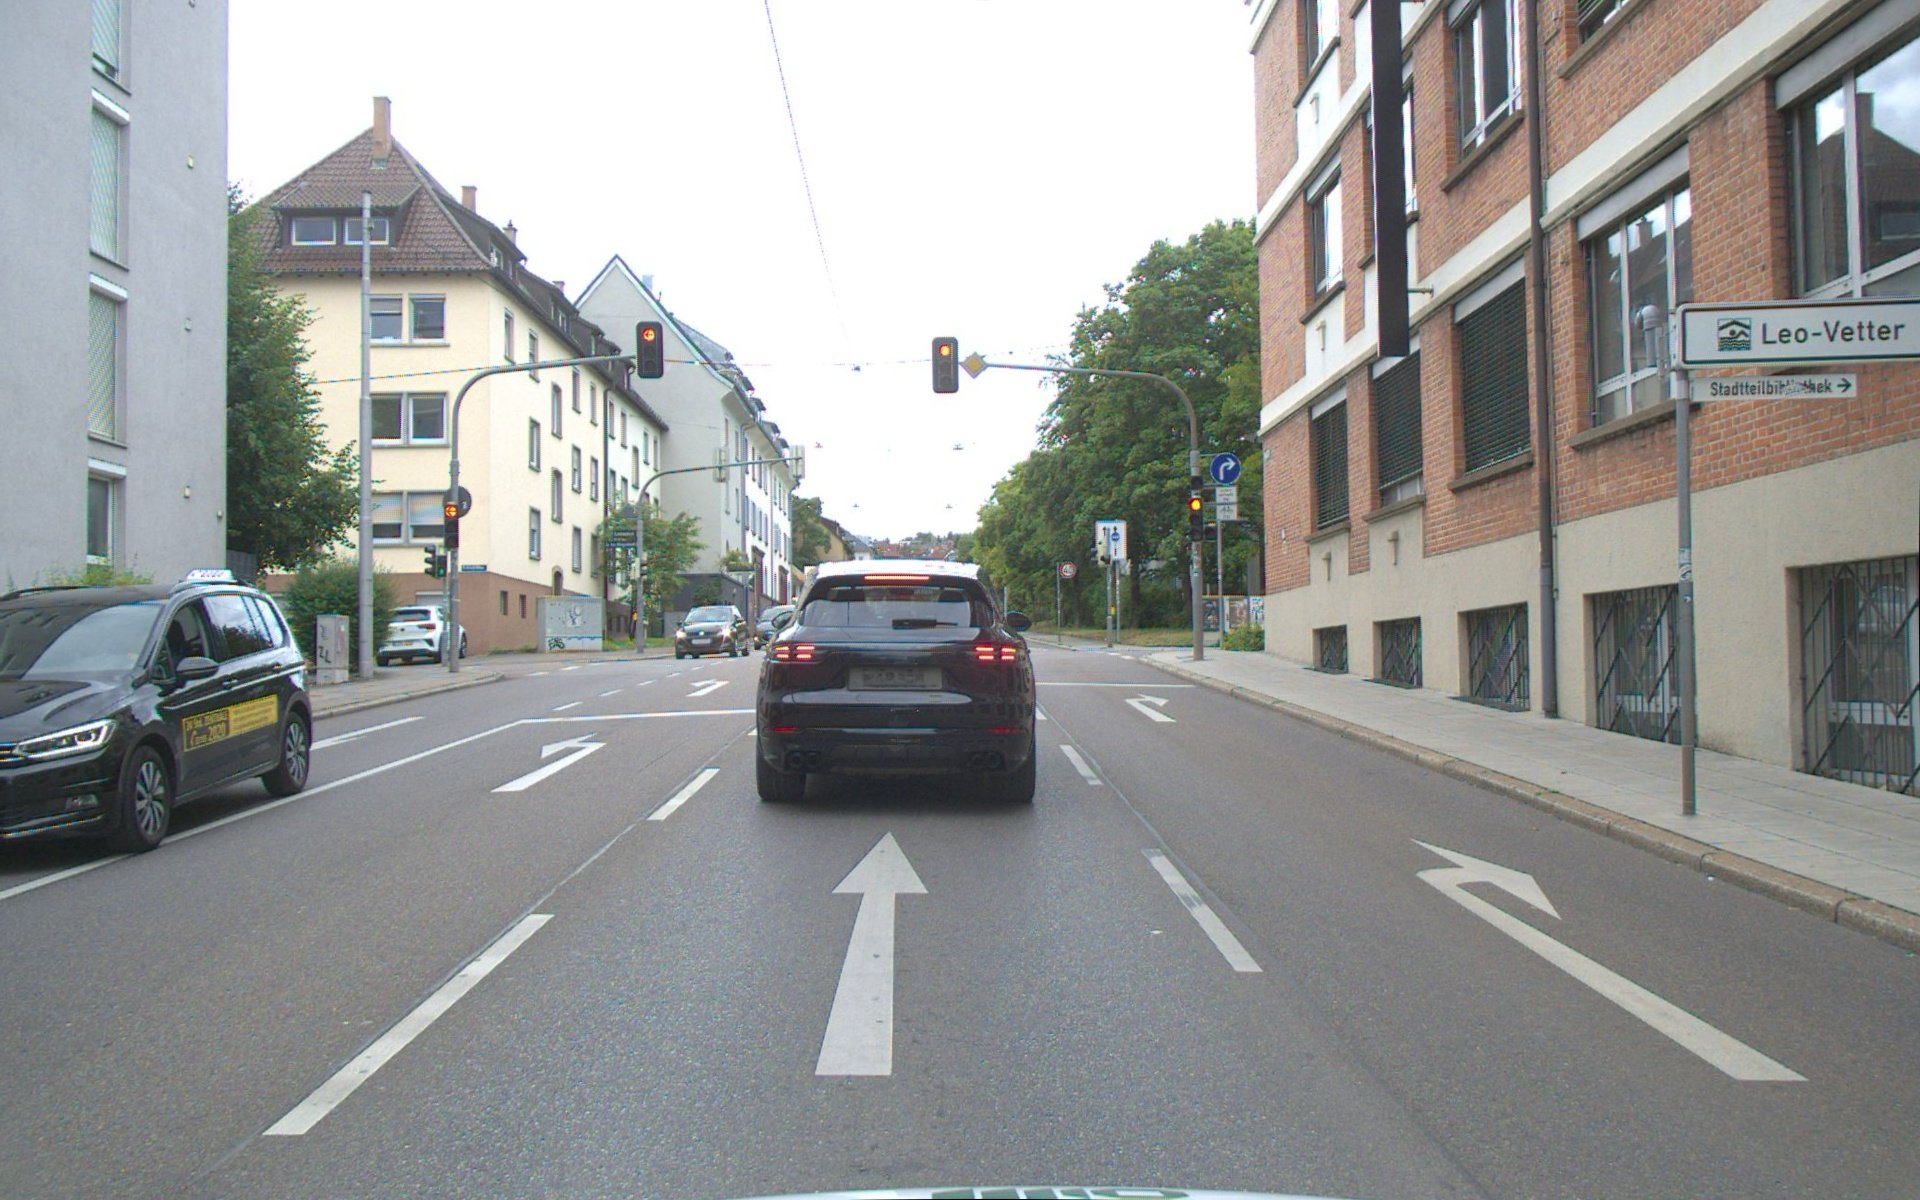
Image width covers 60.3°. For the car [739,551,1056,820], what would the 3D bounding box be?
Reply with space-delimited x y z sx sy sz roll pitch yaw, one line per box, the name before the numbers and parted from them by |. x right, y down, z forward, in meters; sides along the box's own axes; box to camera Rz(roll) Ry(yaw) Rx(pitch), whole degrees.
car | -0.415 0.529 12.749 2.006 1.695 4.267 1 1 -1

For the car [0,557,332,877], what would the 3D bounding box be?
car | -5.840 0.676 11.242 1.749 1.736 4.302 -3 0 -5

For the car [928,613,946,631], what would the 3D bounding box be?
car | -2.286 2.151 164.025 1.790 1.633 4.135 1 1 -1

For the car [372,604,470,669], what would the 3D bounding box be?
car | -14.855 0.965 45.738 1.658 1.582 3.762 -3 1 -5

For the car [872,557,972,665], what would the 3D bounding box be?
car | -0.753 0.195 34.141 1.925 2.078 4.135 1 1 -1

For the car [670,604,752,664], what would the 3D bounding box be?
car | -6.791 0.898 45.432 1.639 1.424 3.794 -3 1 -1

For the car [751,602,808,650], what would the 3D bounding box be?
car | -6.761 0.947 62.148 1.669 1.614 3.936 -3 1 -1

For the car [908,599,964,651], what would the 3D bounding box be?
car | -0.803 0.825 55.900 1.790 1.633 4.135 1 1 -1
